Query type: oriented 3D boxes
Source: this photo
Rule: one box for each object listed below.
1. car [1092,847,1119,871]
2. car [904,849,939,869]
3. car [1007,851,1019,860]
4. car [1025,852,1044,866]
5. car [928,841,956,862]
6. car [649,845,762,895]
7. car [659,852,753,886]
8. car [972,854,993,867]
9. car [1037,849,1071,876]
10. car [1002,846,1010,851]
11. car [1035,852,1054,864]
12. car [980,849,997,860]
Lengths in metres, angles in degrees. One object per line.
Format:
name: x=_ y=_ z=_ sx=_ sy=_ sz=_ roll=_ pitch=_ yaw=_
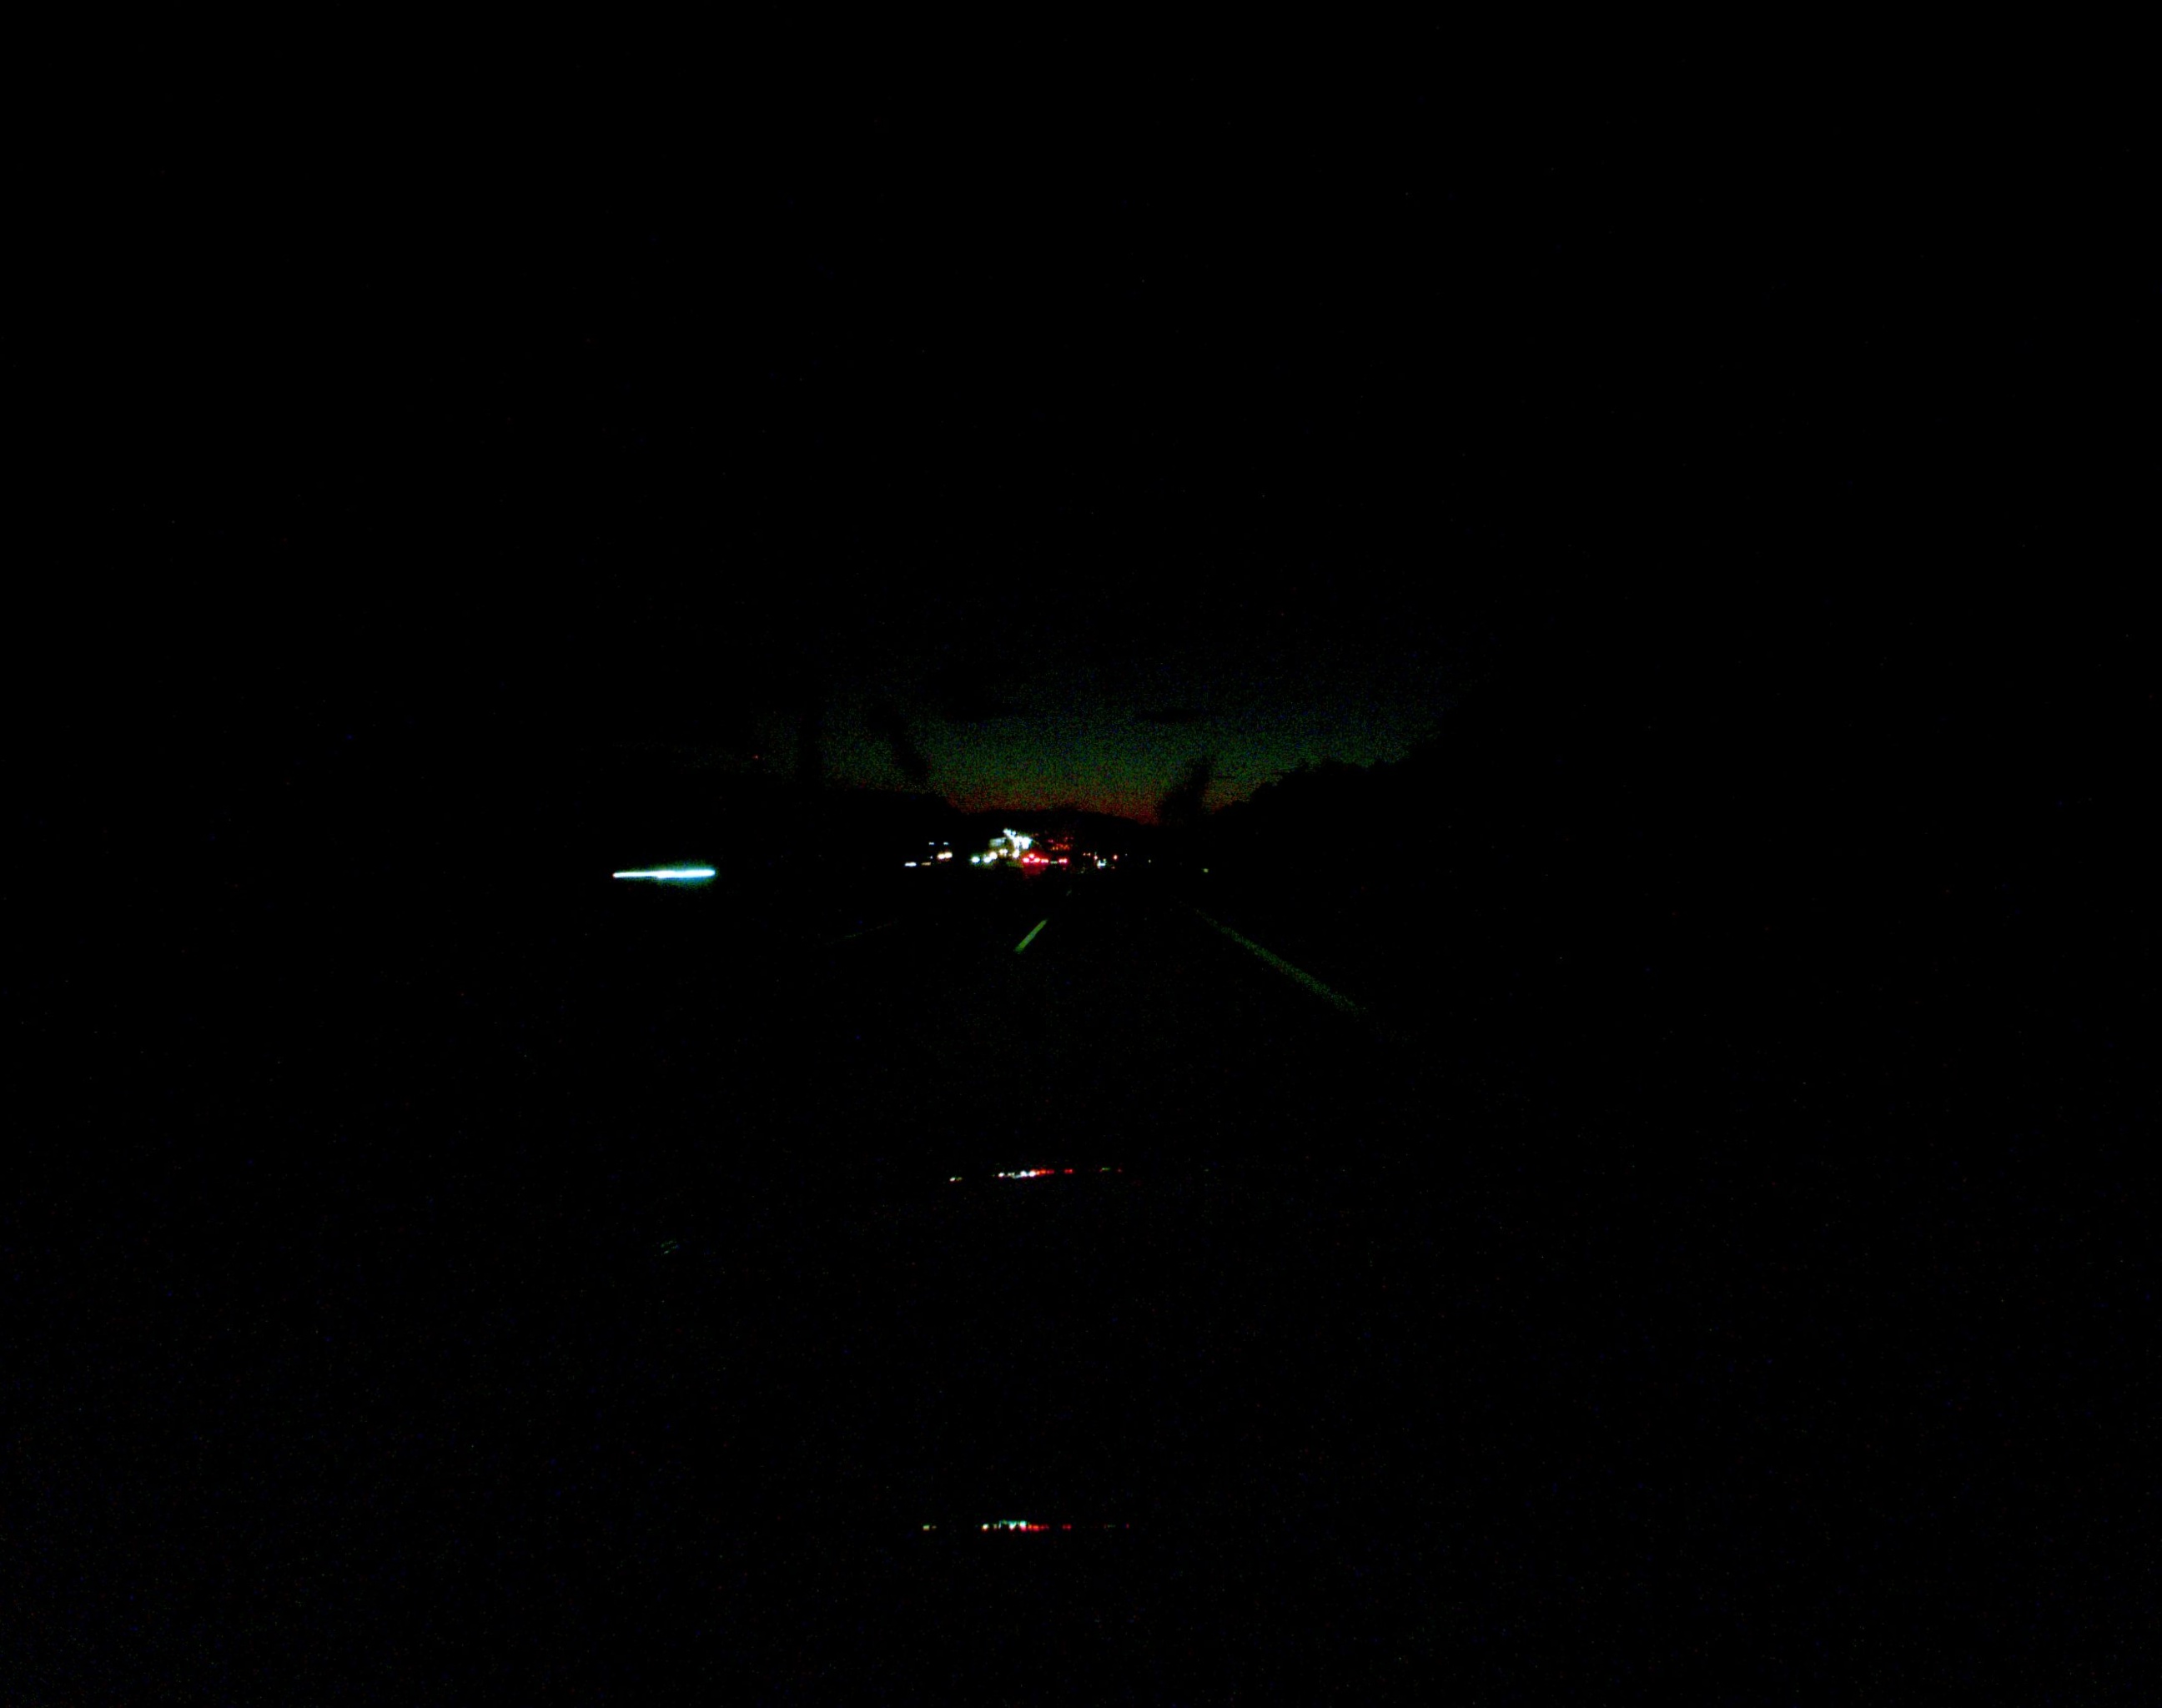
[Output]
car: x=2.105 y=0.369 z=70.363 sx=2.189 sy=1.955 sz=4.764 roll=-1 pitch=1 yaw=1
car: x=-13.770 y=0.418 z=70.413 sx=1.986 sy=1.734 sz=4.661 roll=0 pitch=0 yaw=2
car: x=-14.286 y=0.283 z=170.589 sx=1.987 sy=1.734 sz=4.660 roll=0 pitch=0 yaw=1
car: x=-4.886 y=0.566 z=86.751 sx=1.544 sy=1.431 sz=5.516 roll=-1 pitch=0 yaw=2
car: x=-20.002 y=-0.353 z=117.645 sx=2.449 sy=2.936 sz=8.334 roll=0 pitch=0 yaw=1
car: x=-13.986 y=0.563 z=30.689 sx=1.986 sy=1.734 sz=4.661 roll=0 pitch=0 yaw=2
car: x=-17.826 y=0.653 z=39.070 sx=1.986 sy=1.509 sz=5.187 roll=0 pitch=0 yaw=2
car: x=-12.779 y=0.820 z=106.183 sx=1.986 sy=1.734 sz=4.661 roll=0 pitch=0 yaw=2
car: x=-1.859 y=0.585 z=57.797 sx=1.986 sy=1.721 sz=5.945 roll=-1 pitch=0 yaw=2
car: x=-22.290 y=-1.530 z=242.496 sx=1.768 sy=1.429 sz=4.660 roll=0 pitch=0 yaw=1
car: x=-4.723 y=0.495 z=106.187 sx=1.772 sy=1.486 sz=5.260 roll=2 pitch=1 yaw=4
car: x=-16.268 y=0.130 z=143.945 sx=2.136 sy=1.885 sz=5.427 roll=0 pitch=0 yaw=2
